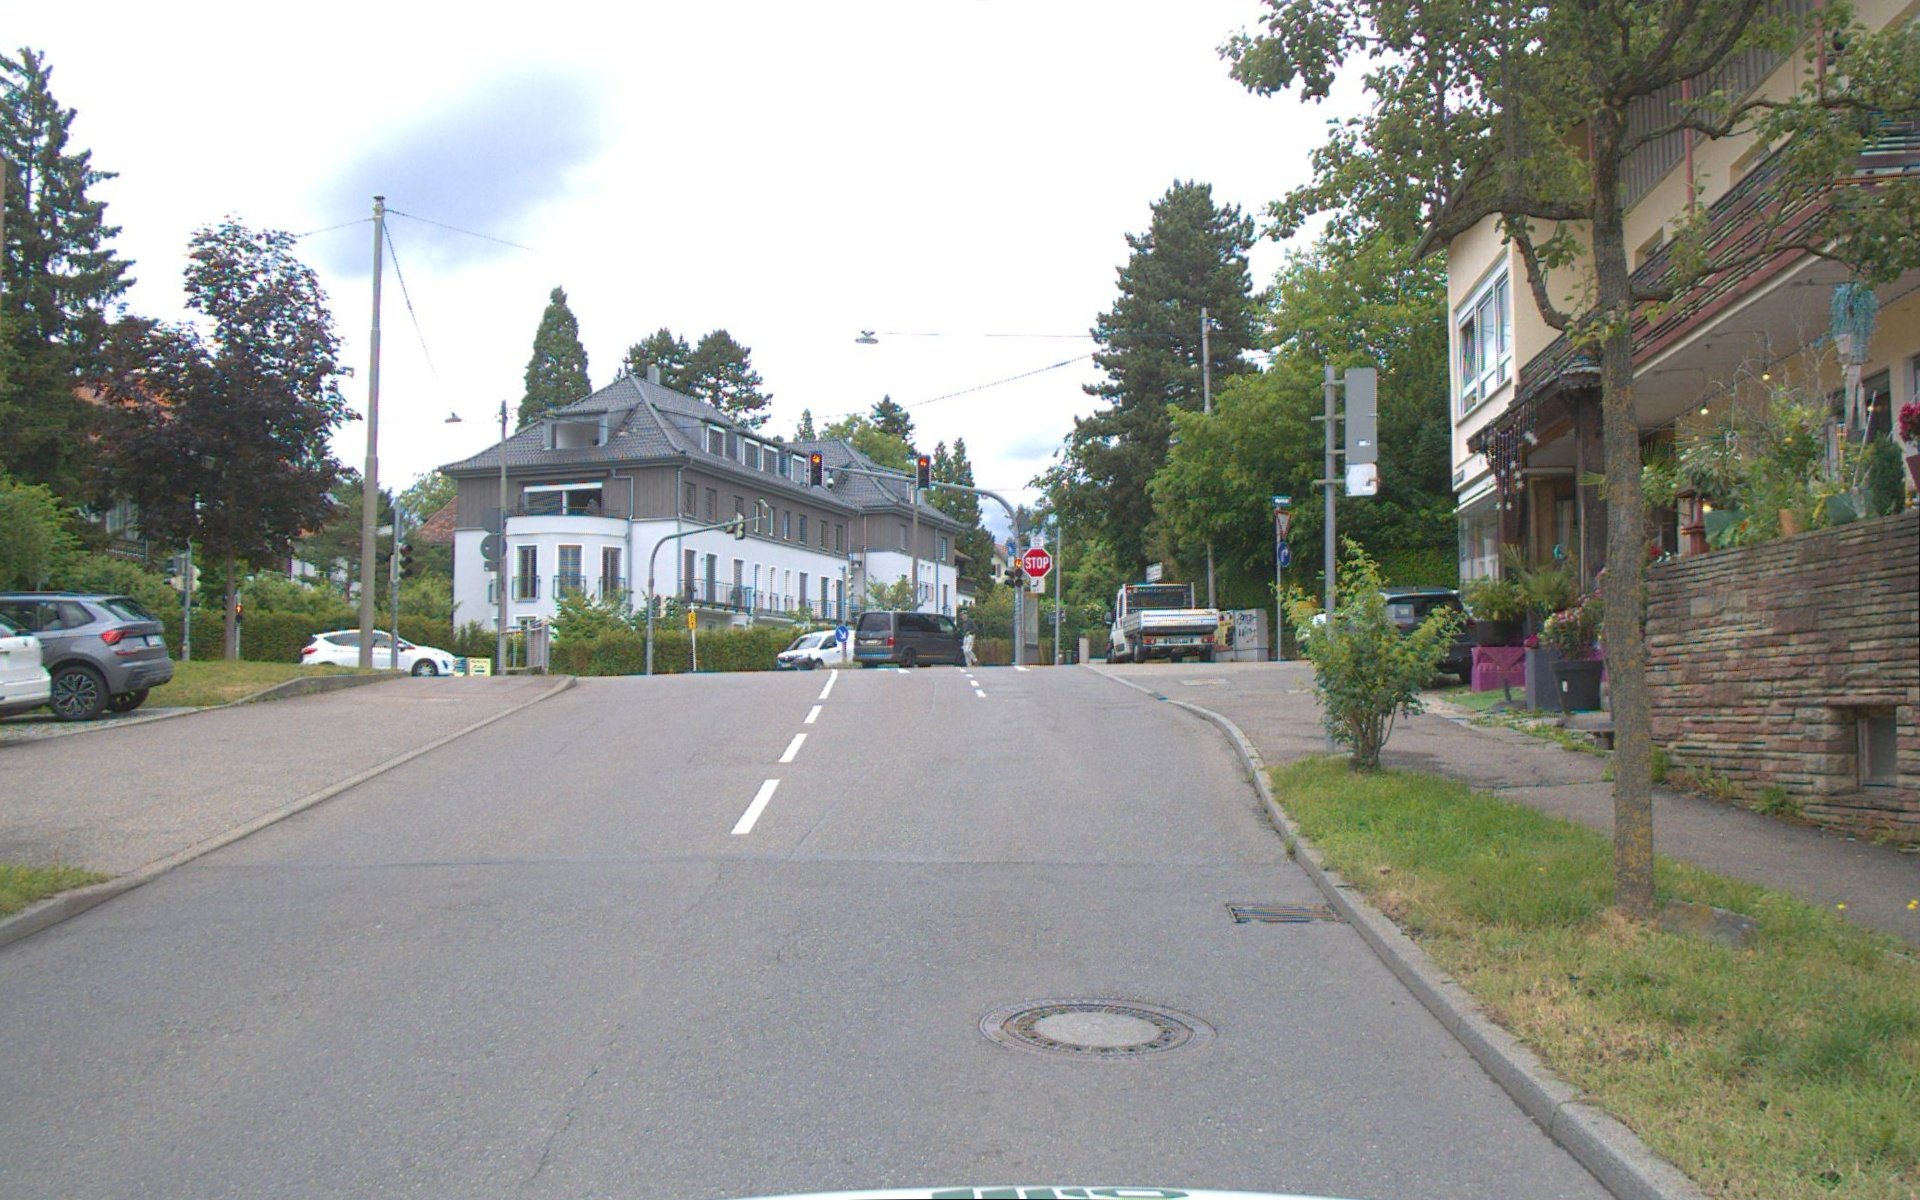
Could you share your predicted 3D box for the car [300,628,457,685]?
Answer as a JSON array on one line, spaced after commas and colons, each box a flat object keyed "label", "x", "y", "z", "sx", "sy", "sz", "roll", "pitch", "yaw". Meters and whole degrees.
[{"label": "car", "x": -15.761, "y": 1.510, "z": 44.829, "sx": 3.932, "sy": 1.407, "sz": 1.924, "roll": 0, "pitch": 1, "yaw": -23}]

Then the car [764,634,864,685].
[{"label": "car", "x": -5.831, "y": 2.361, "z": 66.515, "sx": 1.955, "sy": 1.889, "sz": 4.347, "roll": 0, "pitch": 0, "yaw": 28}]

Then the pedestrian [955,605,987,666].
[{"label": "pedestrian", "x": 0.308, "y": 1.012, "z": 47.151, "sx": 0.688, "sy": 1.711, "sz": 0.681, "roll": -1, "pitch": 0, "yaw": -22}]

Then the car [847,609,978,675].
[{"label": "car", "x": -1.564, "y": 1.374, "z": 55.883, "sx": 1.963, "sy": 2.049, "sz": 4.485, "roll": -1, "pitch": 0, "yaw": 40}]

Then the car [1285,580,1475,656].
[{"label": "car", "x": 9.922, "y": 0.468, "z": 39.018, "sx": 4.152, "sy": 1.622, "sz": 1.988, "roll": -2, "pitch": -4, "yaw": 20}]

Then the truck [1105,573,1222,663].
[{"label": "truck", "x": 5.522, "y": 0.573, "z": 45.686, "sx": 2.140, "sy": 2.234, "sz": 5.876, "roll": 0, "pitch": -3, "yaw": -4}]

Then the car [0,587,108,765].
[{"label": "car", "x": -10.954, "y": 0.787, "z": 16.162, "sx": 4.178, "sy": 1.651, "sz": 2.011, "roll": -2, "pitch": -1, "yaw": -6}]

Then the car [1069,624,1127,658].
[{"label": "car", "x": 6.918, "y": 2.007, "z": 82.367, "sx": 2.108, "sy": 1.517, "sz": 4.716, "roll": -1, "pitch": 0, "yaw": 15}]

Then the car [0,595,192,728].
[{"label": "car", "x": -11.622, "y": 0.750, "z": 20.174, "sx": 3.690, "sy": 1.489, "sz": 1.728, "roll": -2, "pitch": 1, "yaw": -9}]

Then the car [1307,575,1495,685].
[{"label": "car", "x": 6.849, "y": 0.446, "z": 26.149, "sx": 1.810, "sy": 1.498, "sz": 4.386, "roll": -3, "pitch": 0, "yaw": 1}]
